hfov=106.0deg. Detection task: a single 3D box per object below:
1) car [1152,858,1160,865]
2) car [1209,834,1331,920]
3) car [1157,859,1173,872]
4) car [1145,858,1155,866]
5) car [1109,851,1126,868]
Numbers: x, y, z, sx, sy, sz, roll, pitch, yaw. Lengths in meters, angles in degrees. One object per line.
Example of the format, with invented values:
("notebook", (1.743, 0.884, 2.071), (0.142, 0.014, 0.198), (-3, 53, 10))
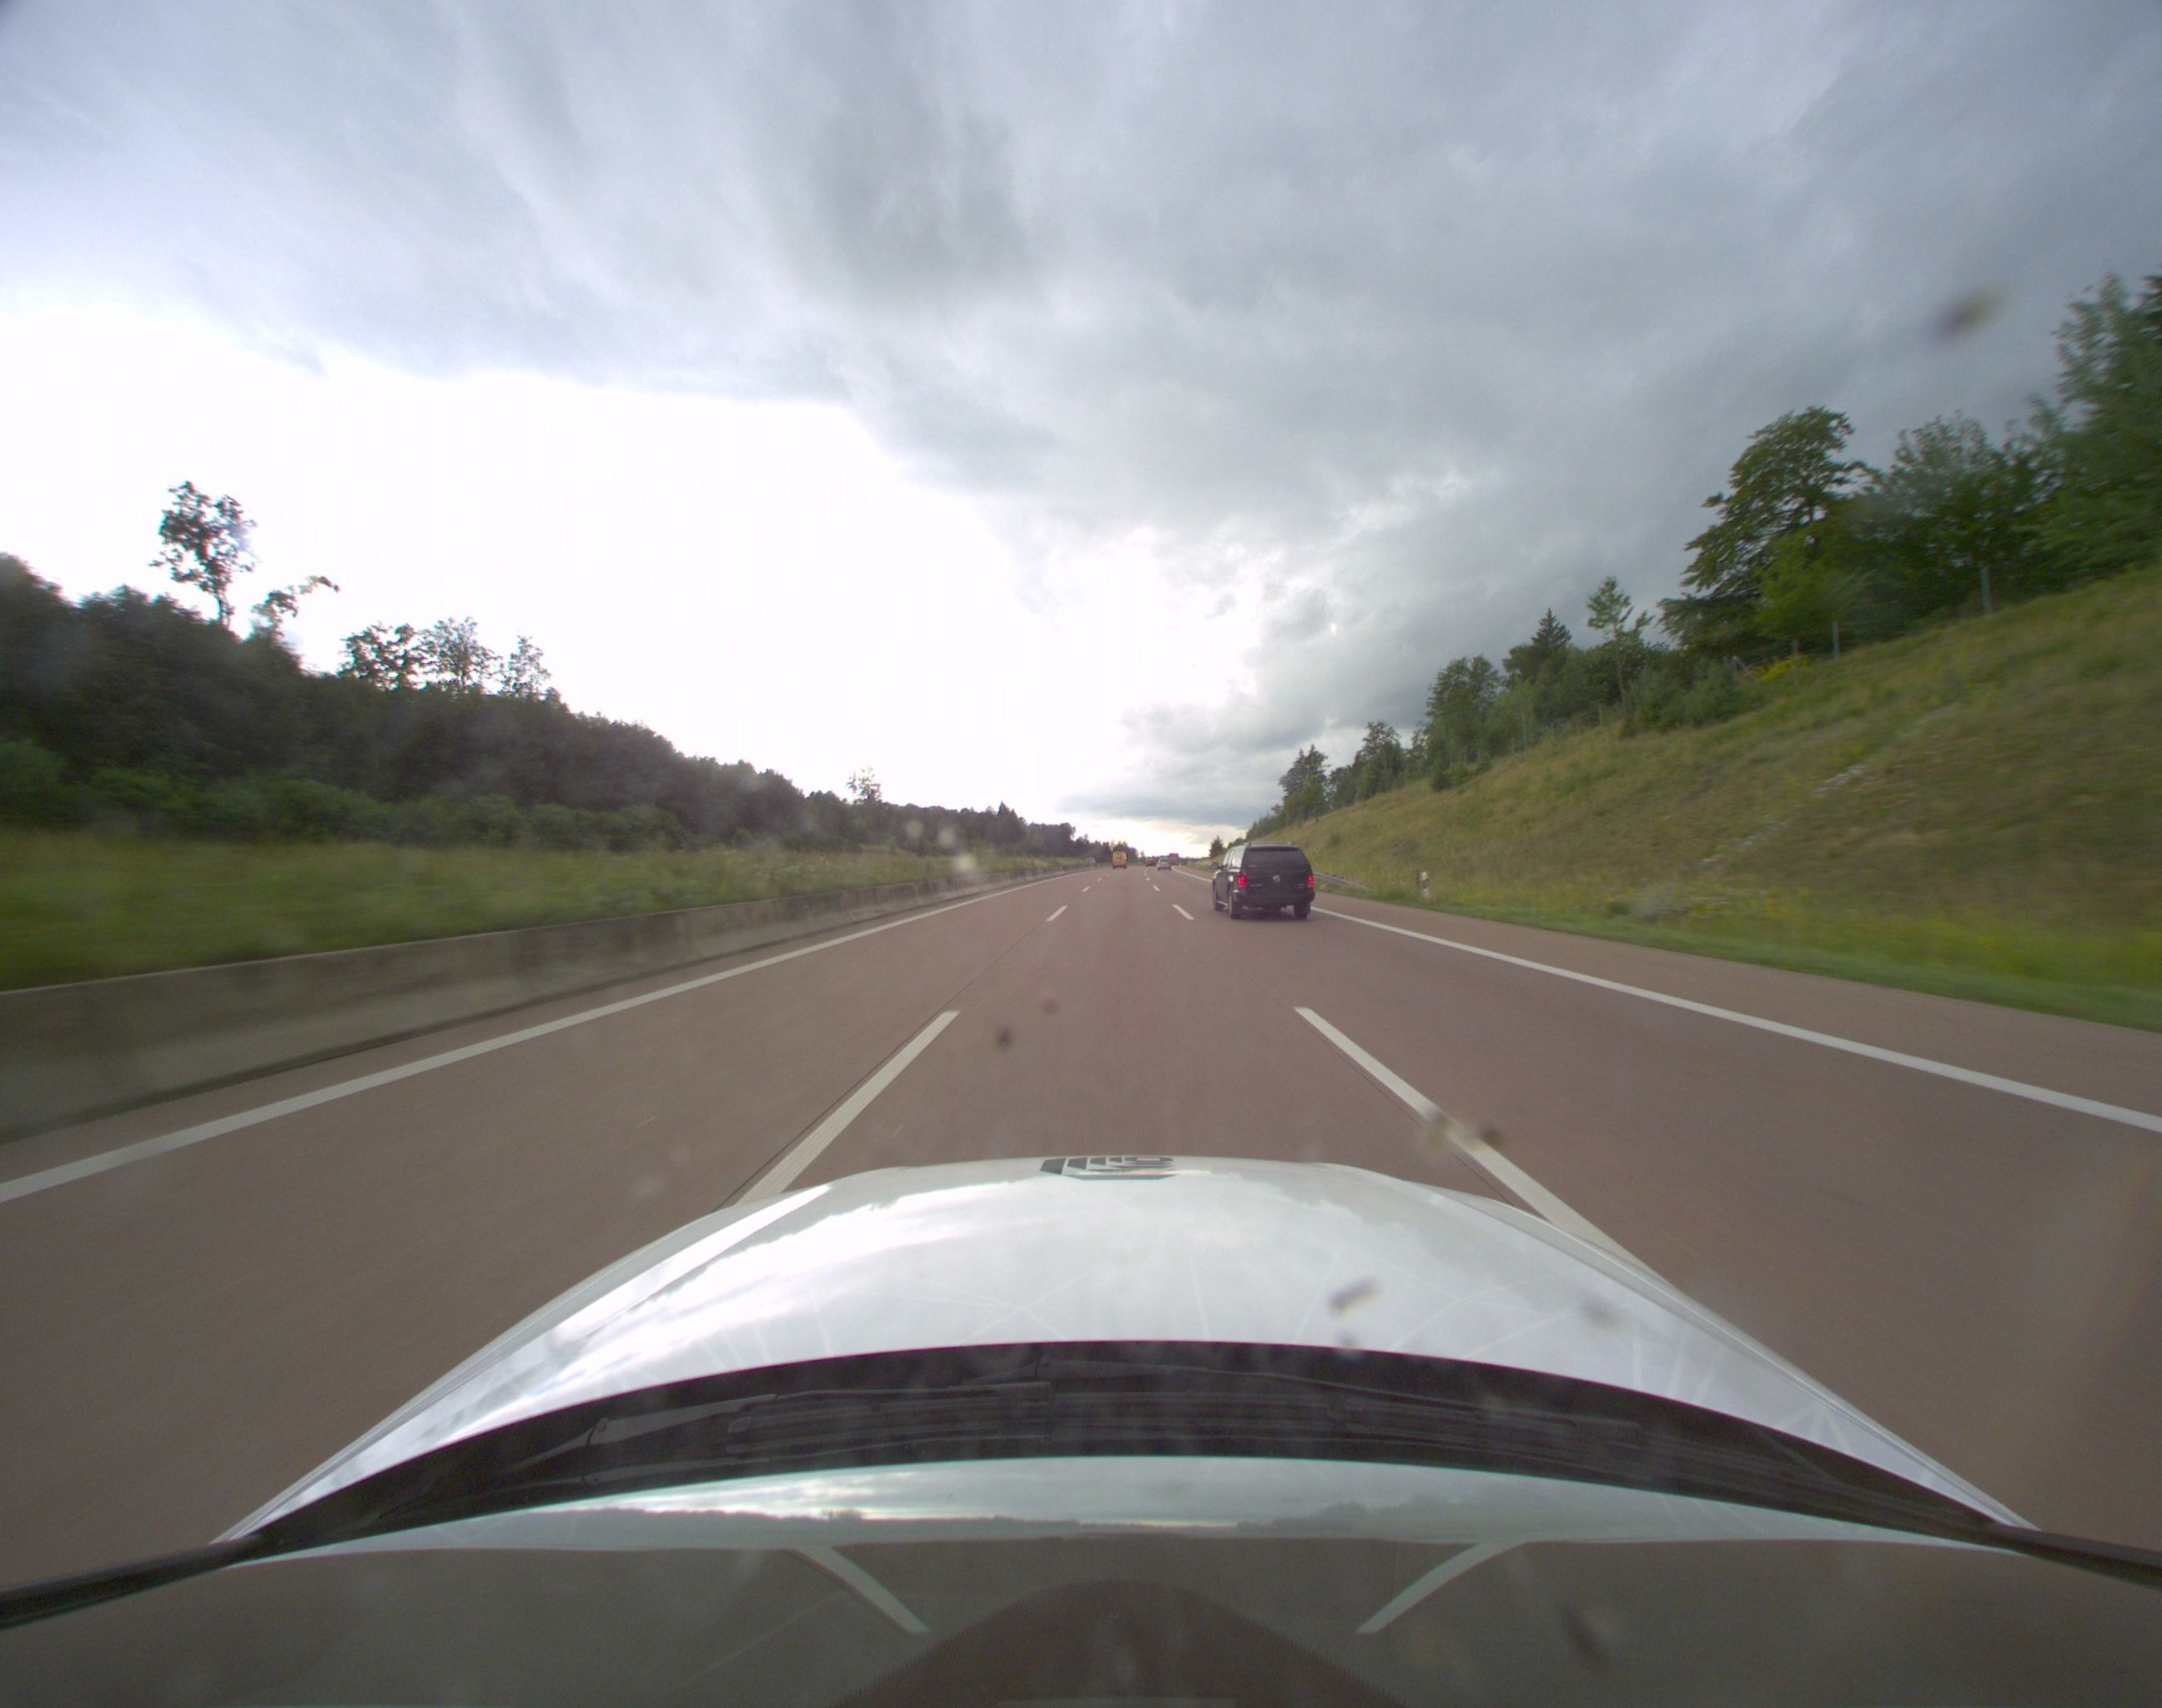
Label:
("car", (19.183, 1.873, 208.333), (1.877, 1.764, 5.008), (-2, -1, 8))
("car", (4.697, 0.569, 21.167), (2.036, 1.897, 5.579), (-1, -1, 2))
("car", (10.883, 1.439, 105.589), (1.968, 1.648, 4.625), (0, -1, 5))
("car", (15.168, 1.734, 178.473), (1.877, 1.764, 4.791), (-2, -1, 7))
("car", (5.889, 0.899, 131.000), (2.448, 2.706, 5.619), (-1, -1, 4))
